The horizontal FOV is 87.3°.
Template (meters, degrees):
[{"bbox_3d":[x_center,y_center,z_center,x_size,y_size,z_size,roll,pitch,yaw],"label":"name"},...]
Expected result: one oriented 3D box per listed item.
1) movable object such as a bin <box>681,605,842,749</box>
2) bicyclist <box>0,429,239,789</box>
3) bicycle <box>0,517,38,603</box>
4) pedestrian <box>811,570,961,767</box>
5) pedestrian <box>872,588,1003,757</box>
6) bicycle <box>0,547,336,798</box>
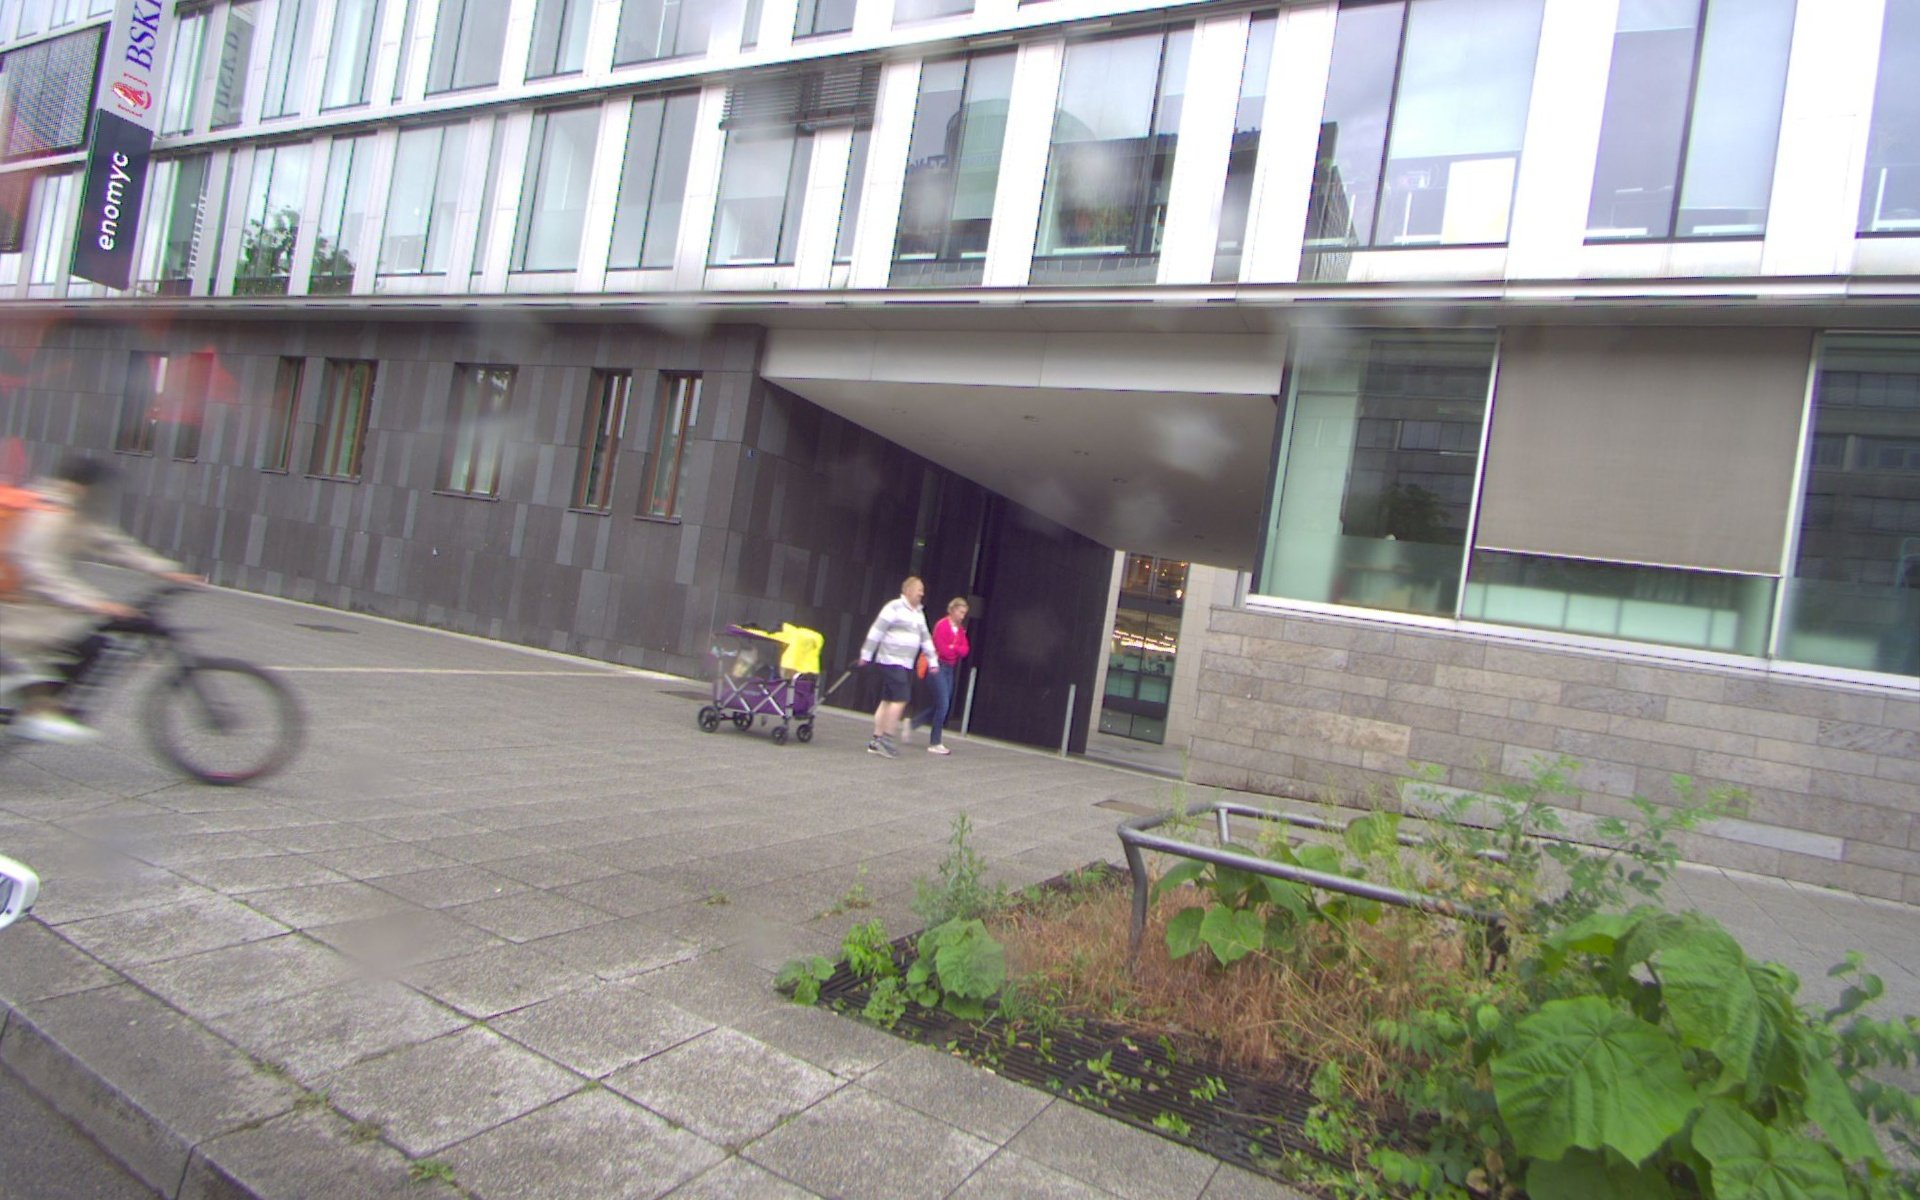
[{"bbox_3d":[-2.117,0.793,10.695,1.419,1.280,0.732,7,1,29],"label":"movable object such as a bin"},{"bbox_3d":[-4.643,0.028,5.139,1.122,1.598,1.010,10,-4,-22],"label":"bicyclist"},{"bbox_3d":[-13.066,-0.640,12.262,0.665,1.069,2.543,7,-2,27],"label":"bicycle"},{"bbox_3d":[-0.746,0.679,10.291,1.028,1.814,0.901,7,1,26],"label":"pedestrian"},{"bbox_3d":[-0.252,0.800,11.366,1.080,1.712,0.719,7,1,26],"label":"pedestrian"},{"bbox_3d":[-4.543,0.339,5.173,2.039,1.126,1.007,6,-2,-23],"label":"bicycle"}]
